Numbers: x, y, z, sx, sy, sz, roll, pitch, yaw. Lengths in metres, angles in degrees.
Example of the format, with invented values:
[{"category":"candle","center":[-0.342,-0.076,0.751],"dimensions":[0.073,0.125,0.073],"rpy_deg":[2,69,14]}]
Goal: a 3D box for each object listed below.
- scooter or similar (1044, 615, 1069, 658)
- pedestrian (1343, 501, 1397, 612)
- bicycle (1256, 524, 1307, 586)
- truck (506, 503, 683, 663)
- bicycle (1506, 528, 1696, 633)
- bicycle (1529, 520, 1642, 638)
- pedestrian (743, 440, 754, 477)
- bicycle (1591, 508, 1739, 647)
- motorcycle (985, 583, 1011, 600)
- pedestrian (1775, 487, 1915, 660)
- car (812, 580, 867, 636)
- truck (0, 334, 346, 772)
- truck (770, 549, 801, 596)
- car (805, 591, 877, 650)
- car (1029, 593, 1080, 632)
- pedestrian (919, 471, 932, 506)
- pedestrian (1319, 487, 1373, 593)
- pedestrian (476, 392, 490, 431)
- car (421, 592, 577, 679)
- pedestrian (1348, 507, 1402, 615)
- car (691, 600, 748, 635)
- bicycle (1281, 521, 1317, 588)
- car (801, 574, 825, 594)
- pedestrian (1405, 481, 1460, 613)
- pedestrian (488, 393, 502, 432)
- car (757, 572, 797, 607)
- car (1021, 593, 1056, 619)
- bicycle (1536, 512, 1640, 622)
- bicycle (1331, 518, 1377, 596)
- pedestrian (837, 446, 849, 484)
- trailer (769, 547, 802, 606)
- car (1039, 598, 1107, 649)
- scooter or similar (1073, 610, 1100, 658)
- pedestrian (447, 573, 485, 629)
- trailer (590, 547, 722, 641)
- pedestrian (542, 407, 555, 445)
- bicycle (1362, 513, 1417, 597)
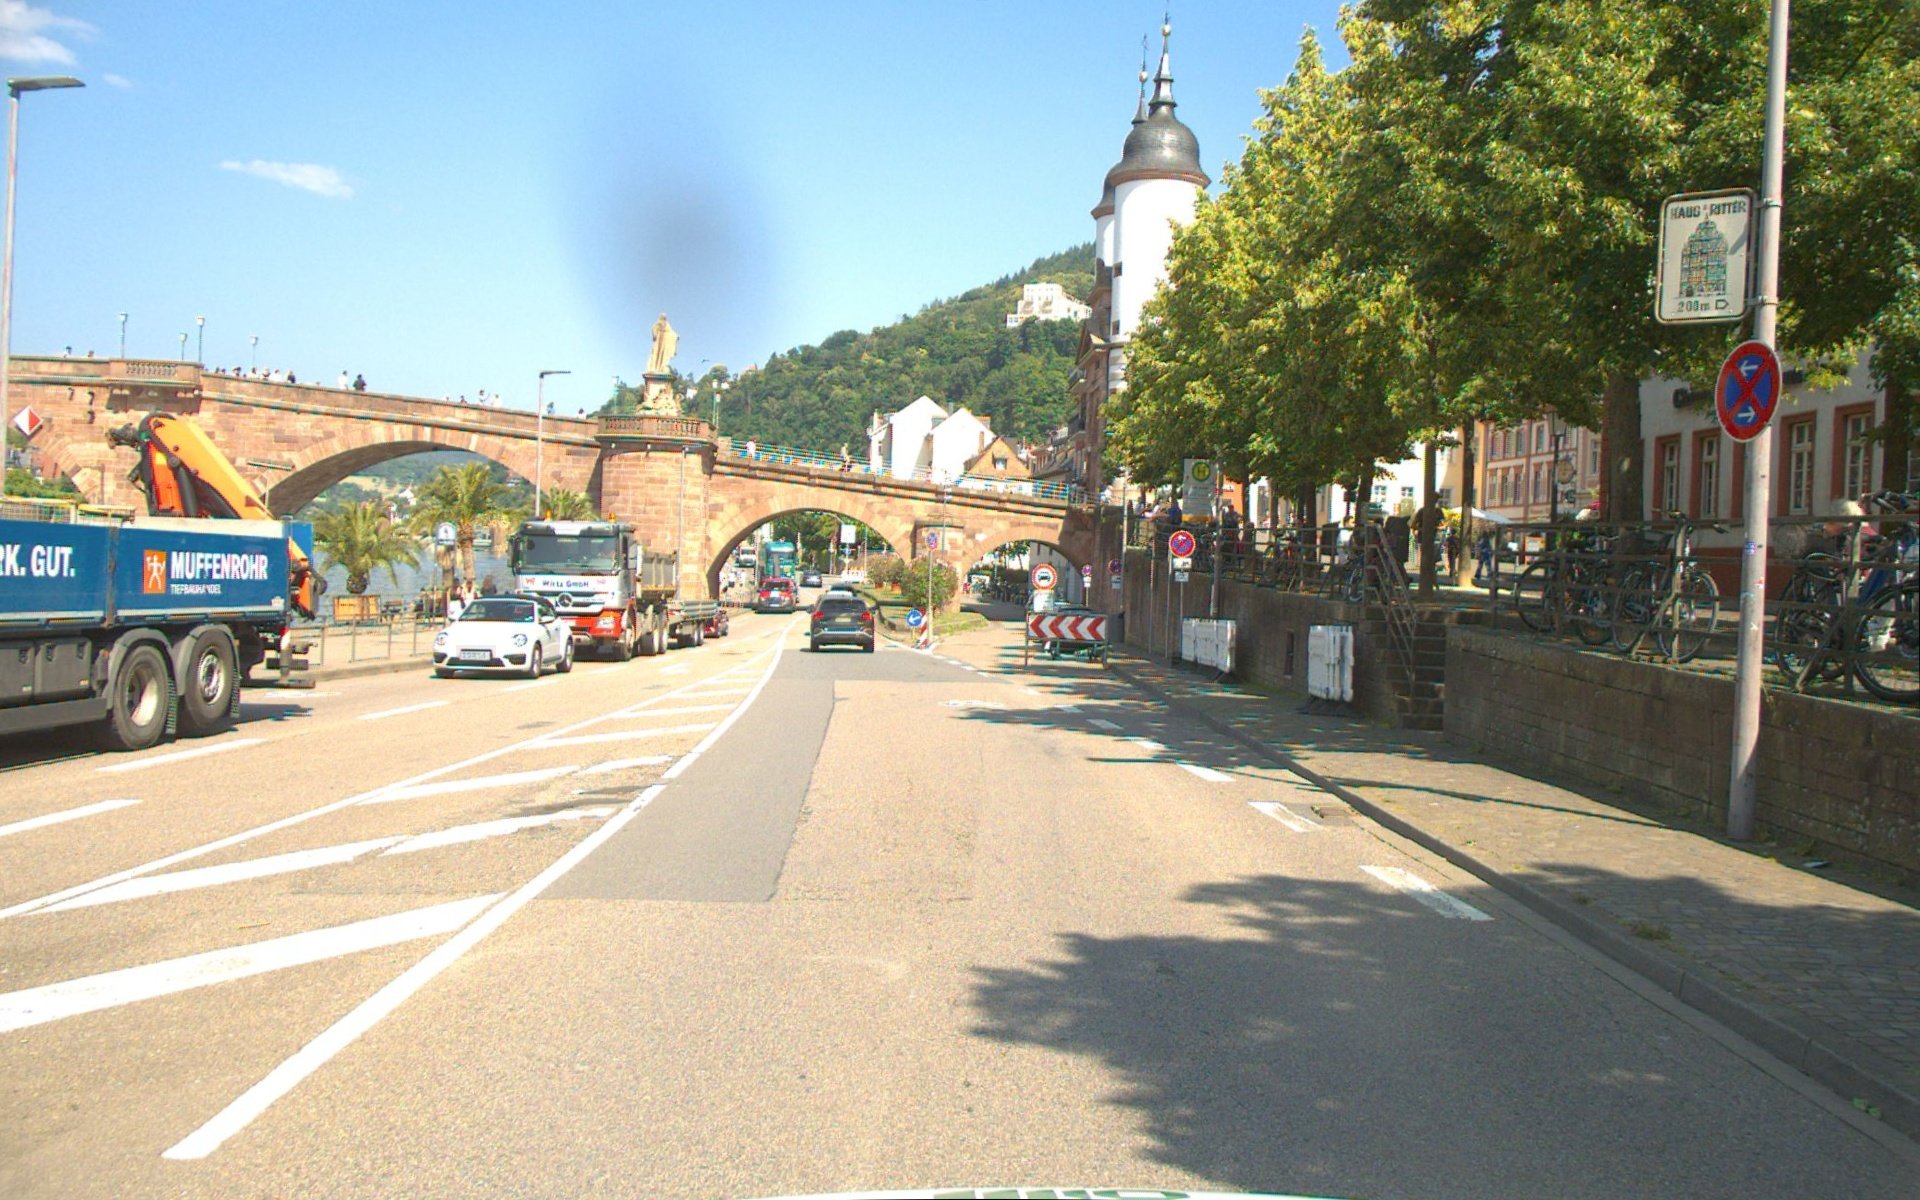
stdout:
[{"category":"scooter or similar","center":[2.579,0.960,44.078],"dimensions":[0.520,1.109,1.440],"rpy_deg":[1,0,9]},{"category":"pedestrian","center":[6.592,-0.690,26.596],"dimensions":[0.704,1.751,0.573],"rpy_deg":[1,0,0]},{"category":"bicycle","center":[5.998,-0.833,30.936],"dimensions":[0.402,1.125,1.732],"rpy_deg":[1,0,-7]},{"category":"truck","center":[-8.735,-0.372,40.458],"dimensions":[2.588,3.517,7.870],"rpy_deg":[0,0,0]},{"category":"bicycle","center":[6.497,-0.199,16.779],"dimensions":[1.817,1.022,0.299],"rpy_deg":[1,1,-3]},{"category":"bicycle","center":[5.753,-0.201,15.305],"dimensions":[0.292,1.022,1.860],"rpy_deg":[1,1,-1]},{"category":"pedestrian","center":[-12.148,-8.138,95.079],"dimensions":[0.569,2.049,0.586],"rpy_deg":[1,0,-3]},{"category":"bicycle","center":[5.569,-0.187,13.166],"dimensions":[0.292,1.022,1.941],"rpy_deg":[1,1,-1]},{"category":"motorcycle","center":[3.005,-0.648,130.582],"dimensions":[2.179,1.289,0.619],"rpy_deg":[0,2,-42]},{"category":"pedestrian","center":[6.794,-0.199,12.714],"dimensions":[0.681,1.287,0.669],"rpy_deg":[1,0,-4]},{"category":"car","center":[-4.557,0.285,63.095],"dimensions":[1.953,2.049,3.998],"rpy_deg":[1,0,-3]},{"category":"truck","center":[-9.001,-0.410,14.795],"dimensions":[2.587,3.537,11.109],"rpy_deg":[1,0,1]},{"category":"truck","center":[-14.590,-2.375,138.432],"dimensions":[2.474,3.813,6.241],"rpy_deg":[0,2,-5]},{"category":"car","center":[-3.308,0.547,46.540],"dimensions":[1.819,1.550,3.999],"rpy_deg":[1,0,-2]},{"category":"car","center":[3.789,0.469,66.534],"dimensions":[1.676,1.483,3.546],"rpy_deg":[2,0,-2]},{"category":"pedestrian","center":[-2.025,-6.563,97.383],"dimensions":[0.670,2.049,0.586],"rpy_deg":[1,0,-3]},{"category":"pedestrian","center":[6.493,-0.995,27.837],"dimensions":[0.704,1.751,0.711],"rpy_deg":[1,0,0]},{"category":"pedestrian","center":[-26.102,-10.296,90.554],"dimensions":[0.612,2.049,0.693],"rpy_deg":[1,0,-10]},{"category":"car","center":[-8.448,0.612,30.640],"dimensions":[1.741,1.469,3.997],"rpy_deg":[1,0,0]},{"category":"pedestrian","center":[6.826,-0.640,27.223],"dimensions":[0.704,1.751,0.573],"rpy_deg":[1,0,0]},{"category":"car","center":[-8.514,0.599,58.812],"dimensions":[1.638,1.215,3.627],"rpy_deg":[0,0,-3]},{"category":"bicycle","center":[5.929,-0.784,28.959],"dimensions":[0.401,1.125,1.735],"rpy_deg":[1,0,5]},{"category":"car","center":[-12.764,-1.406,143.477],"dimensions":[1.822,1.691,3.991],"rpy_deg":[0,1,-10]},{"category":"pedestrian","center":[8.100,-0.904,28.354],"dimensions":[0.704,2.227,0.711],"rpy_deg":[1,0,0]},{"category":"pedestrian","center":[-25.522,-10.286,90.760],"dimensions":[0.612,2.049,0.693],"rpy_deg":[1,0,-10]},{"category":"car","center":[-10.093,-0.588,91.472],"dimensions":[1.837,1.859,4.542],"rpy_deg":[0,1,-2]},{"category":"car","center":[4.817,0.351,101.869],"dimensions":[1.854,1.518,4.416],"rpy_deg":[1,1,-1]},{"category":"bicycle","center":[6.993,-0.369,18.488],"dimensions":[0.374,1.160,1.934],"rpy_deg":[1,1,-1]},{"category":"bicycle","center":[5.901,-0.628,24.807],"dimensions":[0.401,1.125,1.735],"rpy_deg":[1,0,5]},{"category":"pedestrian","center":[-6.506,-7.496,91.788],"dimensions":[0.611,2.049,0.695],"rpy_deg":[1,0,-3]},{"category":"trailer","center":[-10.214,-1.374,96.986],"dimensions":[1.706,3.378,3.383],"rpy_deg":[0,1,-2]},{"category":"car","center":[3.522,0.696,52.090],"dimensions":[1.805,1.475,4.534],"rpy_deg":[2,0,0]},{"category":"scooter or similar","center":[3.376,0.902,44.058],"dimensions":[0.520,1.252,1.272],"rpy_deg":[1,0,14]},{"category":"pedestrian","center":[-15.486,0.035,51.821],"dimensions":[0.831,1.721,0.791],"rpy_deg":[2,1,42]},{"category":"trailer","center":[-8.816,-0.156,48.734],"dimensions":[2.642,2.575,6.946],"rpy_deg":[0,0,0]},{"category":"pedestrian","center":[-22.608,-9.559,90.876],"dimensions":[0.612,2.049,0.693],"rpy_deg":[1,0,-10]},{"category":"bicycle","center":[5.980,-0.612,23.116],"dimensions":[0.401,1.125,1.925],"rpy_deg":[1,0,5]}]
